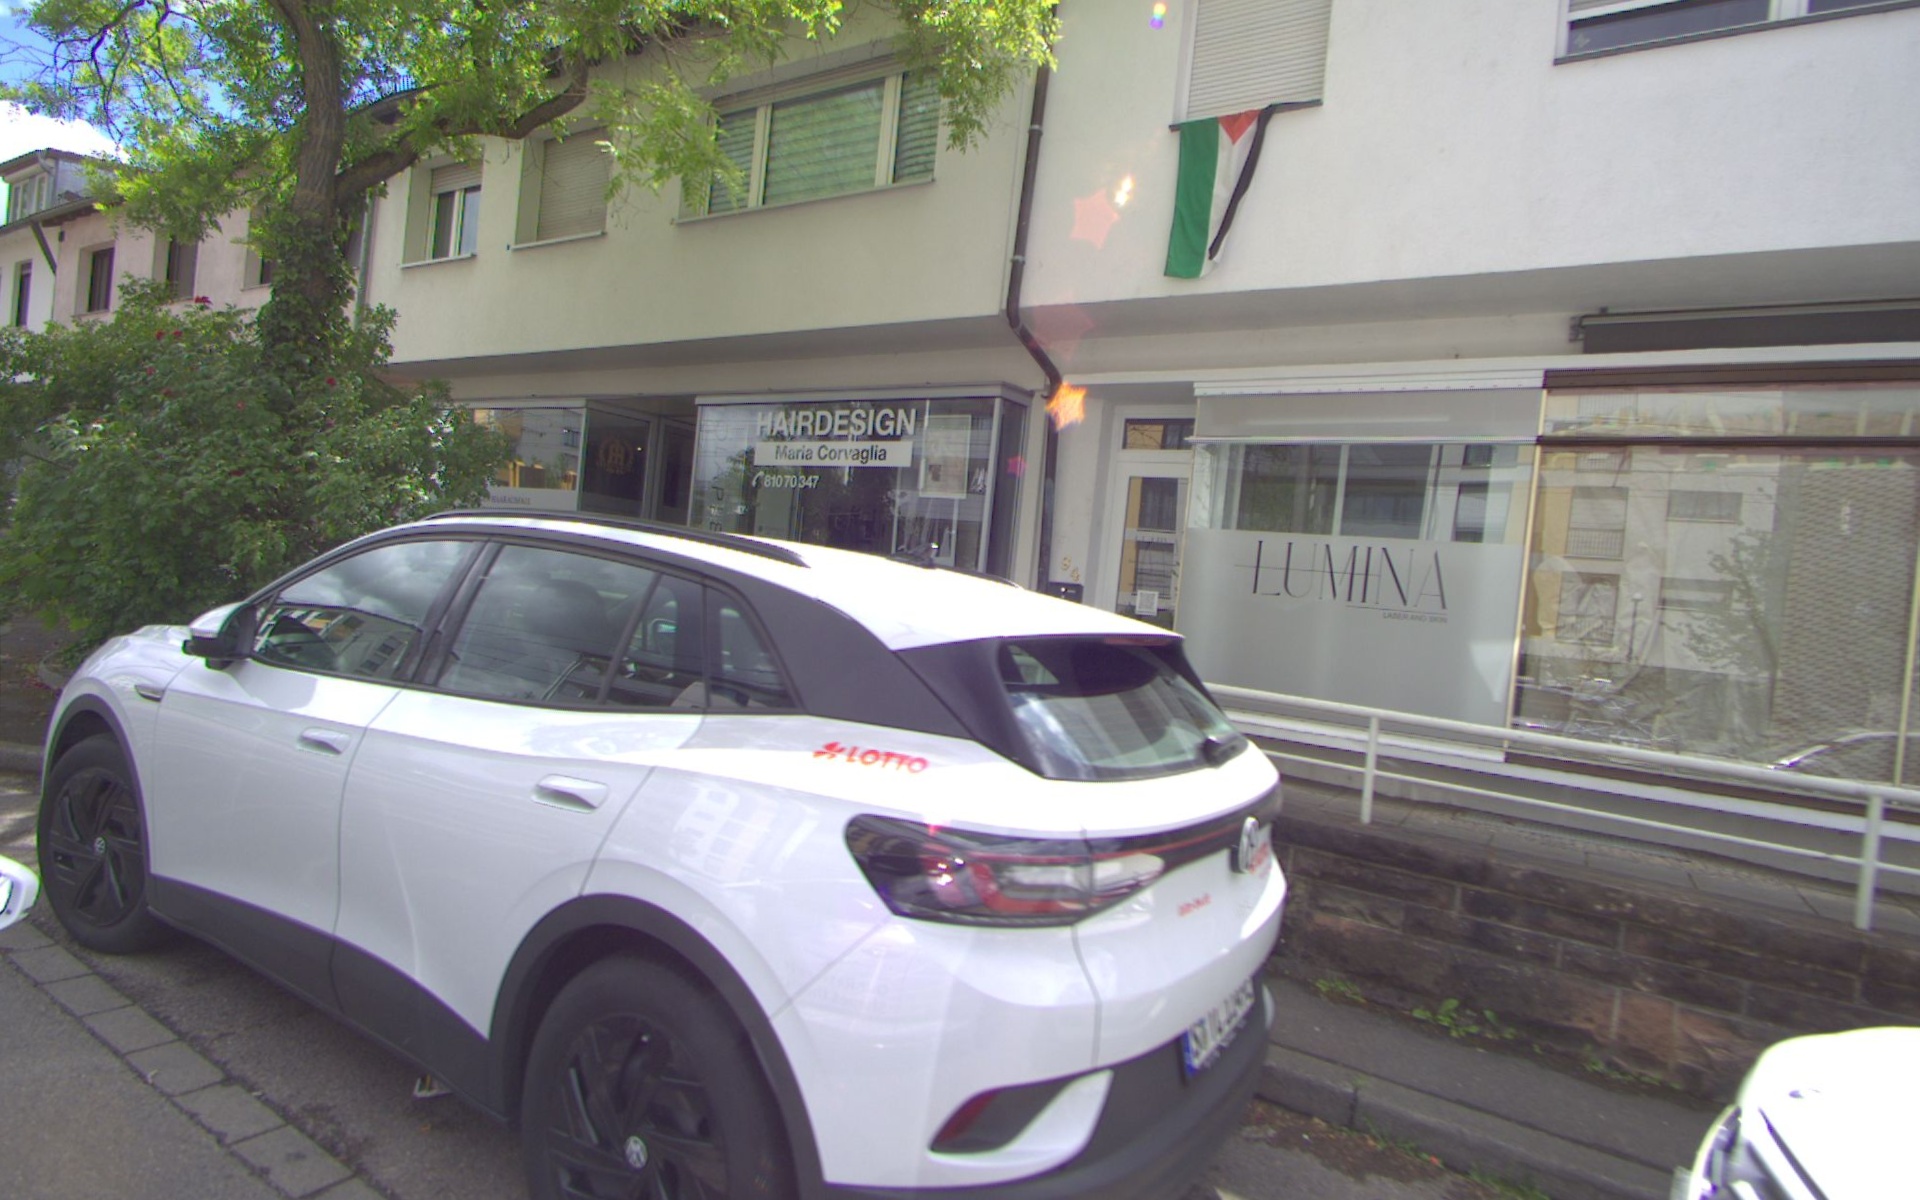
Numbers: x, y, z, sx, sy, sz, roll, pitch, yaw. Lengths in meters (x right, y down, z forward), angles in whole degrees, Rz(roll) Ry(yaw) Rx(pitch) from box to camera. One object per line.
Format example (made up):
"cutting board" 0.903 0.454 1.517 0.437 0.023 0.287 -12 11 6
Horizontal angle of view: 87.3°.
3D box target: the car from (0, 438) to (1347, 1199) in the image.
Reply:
"car" -1.255 0.518 3.344 4.356 1.663 1.840 7 0 31

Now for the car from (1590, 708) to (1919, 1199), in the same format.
"car" 3.106 1.145 0.730 4.373 1.443 1.726 7 0 32
